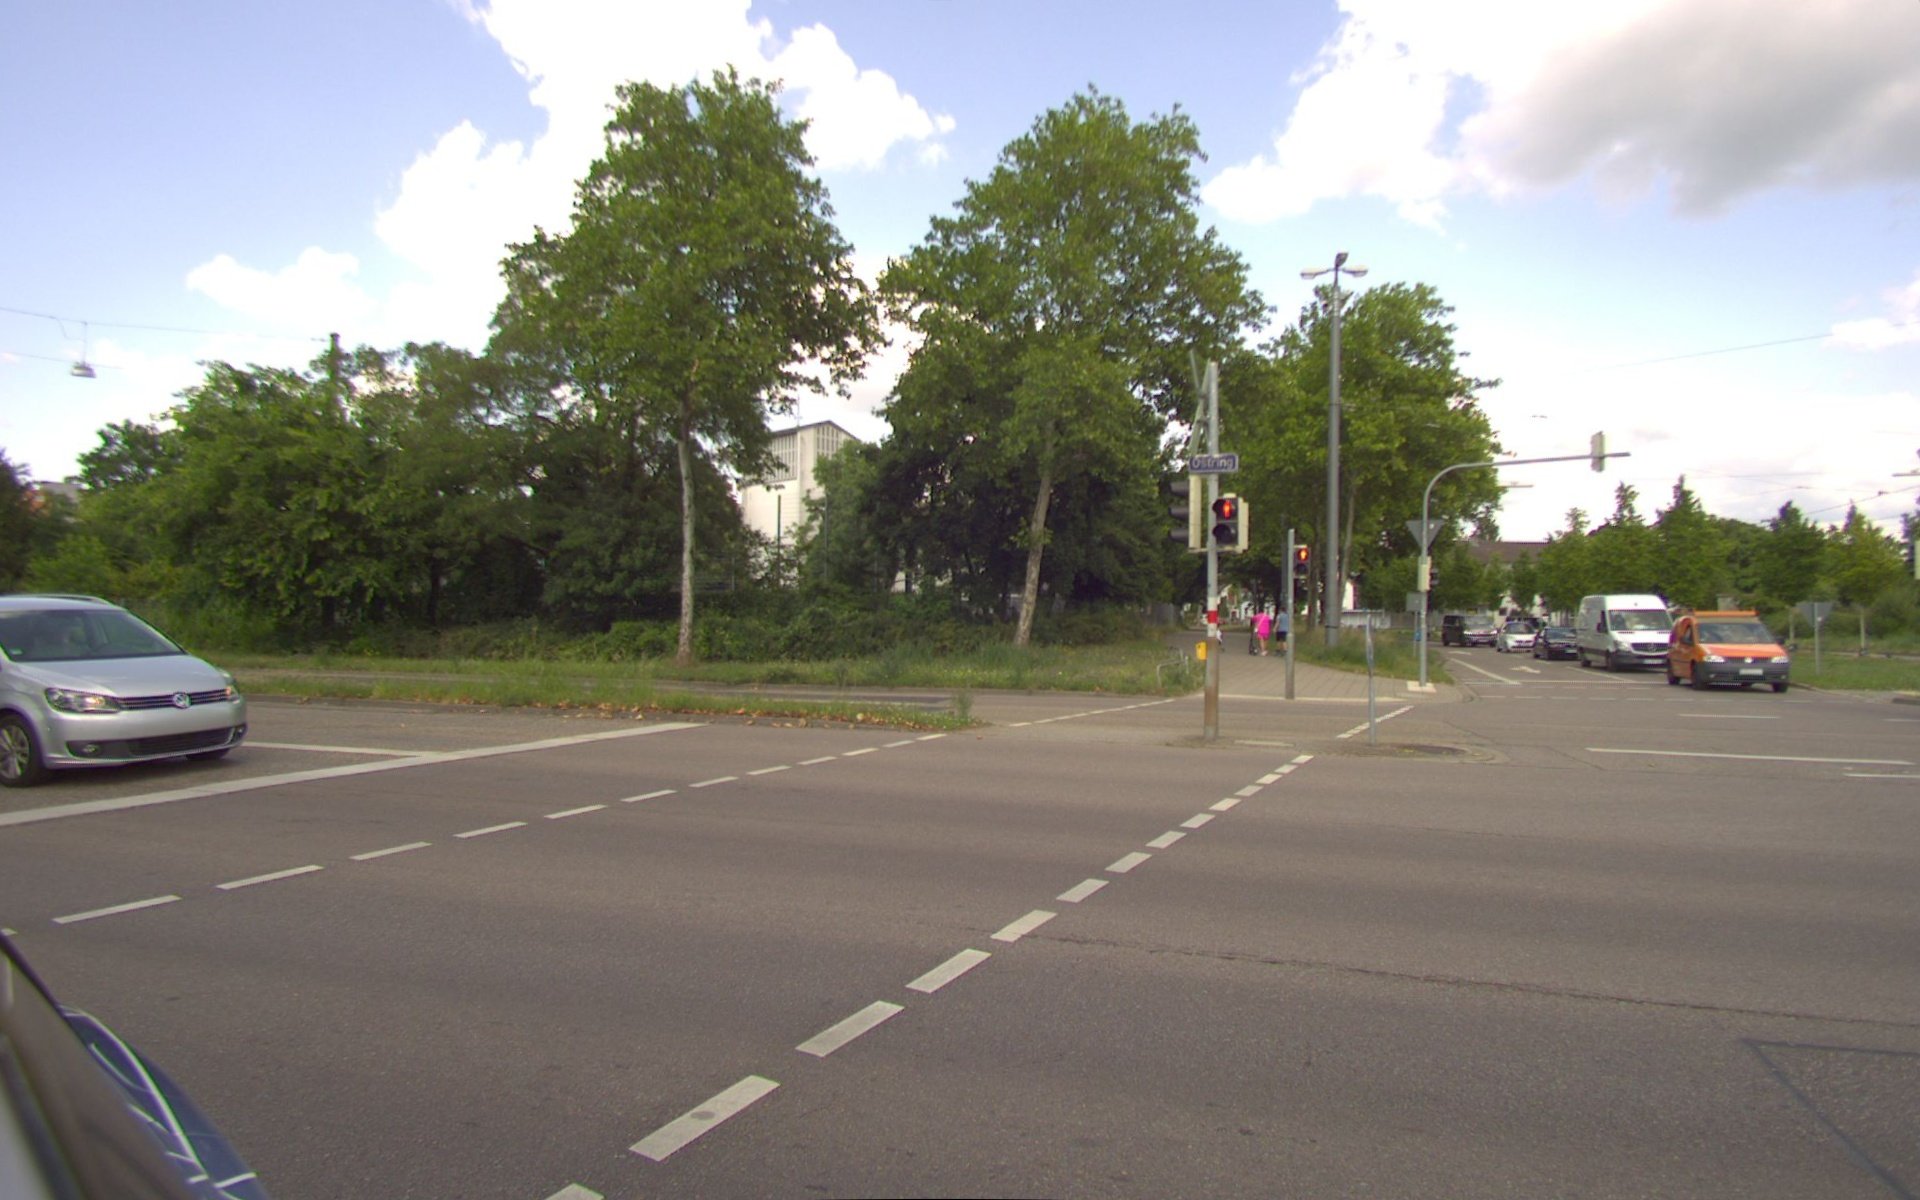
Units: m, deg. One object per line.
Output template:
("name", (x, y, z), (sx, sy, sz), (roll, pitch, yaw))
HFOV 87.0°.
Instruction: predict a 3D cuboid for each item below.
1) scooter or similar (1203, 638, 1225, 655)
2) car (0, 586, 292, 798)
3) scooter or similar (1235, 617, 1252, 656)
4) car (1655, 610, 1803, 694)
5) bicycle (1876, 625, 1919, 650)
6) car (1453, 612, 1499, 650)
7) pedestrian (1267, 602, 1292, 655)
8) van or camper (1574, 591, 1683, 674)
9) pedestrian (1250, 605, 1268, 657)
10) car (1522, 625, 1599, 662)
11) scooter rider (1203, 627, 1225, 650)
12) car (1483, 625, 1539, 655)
("scooter or similar", (8.432, 1.533, 33.593), (0.607, 0.515, 0.852), (-2, -2, 19))
("car", (-8.869, 0.718, 9.588), (4.465, 1.664, 1.919), (0, 0, 18))
("scooter or similar", (9.171, 1.172, 32.702), (0.320, 1.241, 0.768), (-3, -2, 29))
("car", (18.322, 1.172, 24.343), (1.873, 1.813, 4.334), (0, -1, 25))
("bicycle", (46.774, 1.855, 50.308), (0.942, 1.163, 1.976), (0, -1, 12))
("car", (30.631, 1.839, 60.177), (1.841, 2.172, 4.354), (0, -1, 19))
("pedestrian", (10.052, 0.885, 31.818), (0.630, 1.631, 0.605), (-1, -1, 27))
("van or camper", (22.471, 1.063, 34.286), (1.969, 2.543, 5.990), (0, -1, 23))
("pedestrian", (9.558, 0.988, 32.338), (0.419, 1.631, 0.591), (-1, -1, 27))
("car", (25.249, 1.815, 42.697), (1.796, 1.442, 4.443), (0, -2, 17))
("scooter rider", (8.422, 1.276, 33.594), (0.607, 0.734, 0.854), (-2, -2, 19))
("car", (28.133, 1.986, 51.759), (1.797, 1.442, 4.355), (0, -1, 19))
